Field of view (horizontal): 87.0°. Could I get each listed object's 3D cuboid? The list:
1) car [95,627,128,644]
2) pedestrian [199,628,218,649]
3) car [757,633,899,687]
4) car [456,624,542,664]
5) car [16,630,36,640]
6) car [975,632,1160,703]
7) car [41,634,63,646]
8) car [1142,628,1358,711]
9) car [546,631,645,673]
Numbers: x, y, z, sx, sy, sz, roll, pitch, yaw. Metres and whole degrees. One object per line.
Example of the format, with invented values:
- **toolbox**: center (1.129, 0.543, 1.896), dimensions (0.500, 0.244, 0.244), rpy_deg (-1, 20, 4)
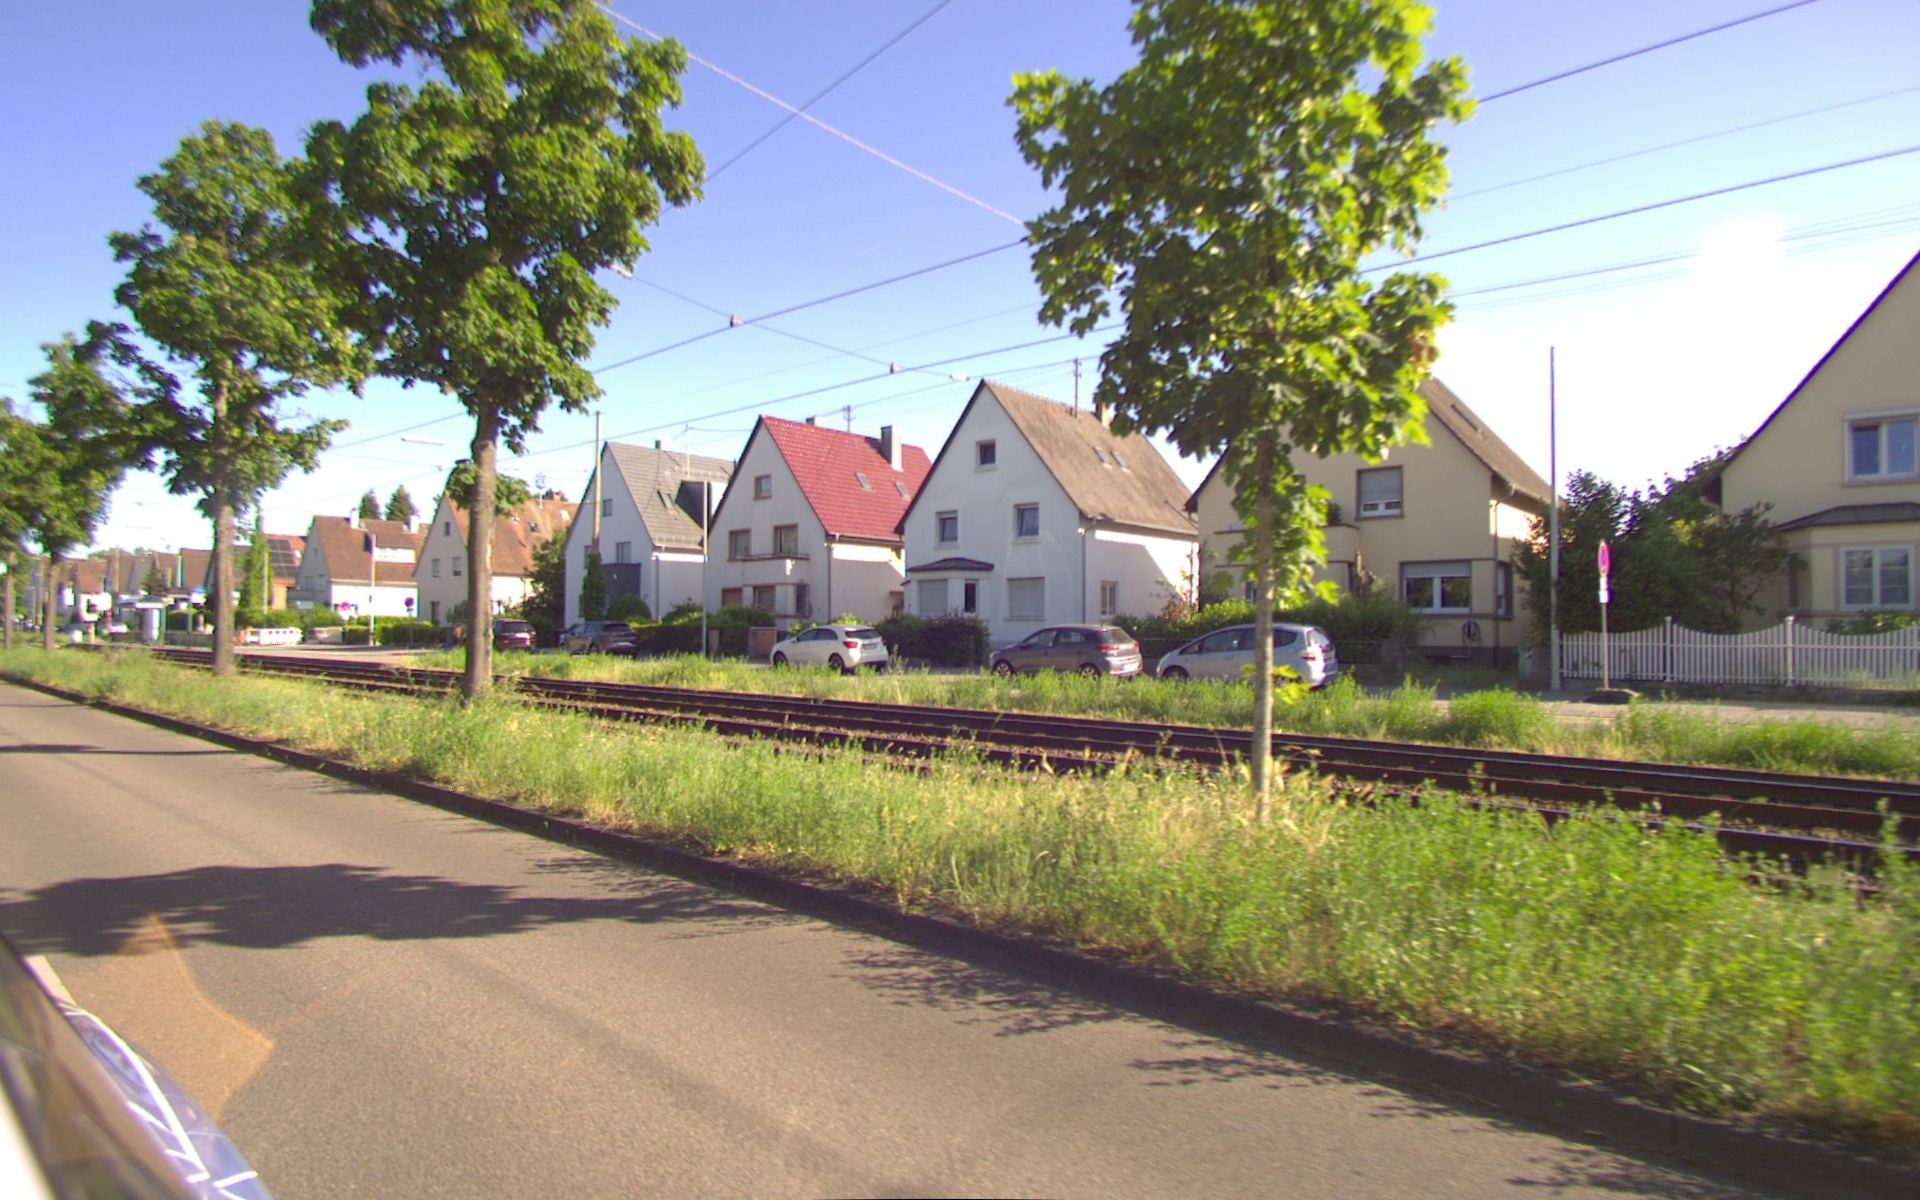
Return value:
- **car**: center (-88.269, 3.653, 105.235), dimensions (4.837, 1.691, 1.973), rpy_deg (-1, -1, 41)
- **pedestrian**: center (-56.773, 2.882, 76.472), dimensions (0.787, 1.546, 0.809), rpy_deg (-2, -3, 18)
- **car**: center (-4.083, 1.772, 30.936), dimensions (4.410, 1.437, 1.972), rpy_deg (-1, -1, 43)
- **car**: center (-21.025, 1.959, 46.086), dimensions (4.388, 1.726, 1.973), rpy_deg (-1, -1, 41)
- **car**: center (-130.603, 4.899, 141.501), dimensions (3.822, 1.392, 1.733), rpy_deg (-1, -1, 41)
- **car**: center (2.589, 1.591, 24.843), dimensions (4.125, 1.460, 1.973), rpy_deg (-1, 1, 41)
- **car**: center (-117.500, 5.171, 130.965), dimensions (3.754, 1.501, 1.716), rpy_deg (-1, -1, 41)
- **car**: center (6.175, 1.405, 21.793), dimensions (4.054, 1.565, 1.926), rpy_deg (-1, -1, 41)
- **car**: center (-14.514, 2.019, 40.236), dimensions (4.254, 1.506, 1.906), rpy_deg (-1, -1, 41)
